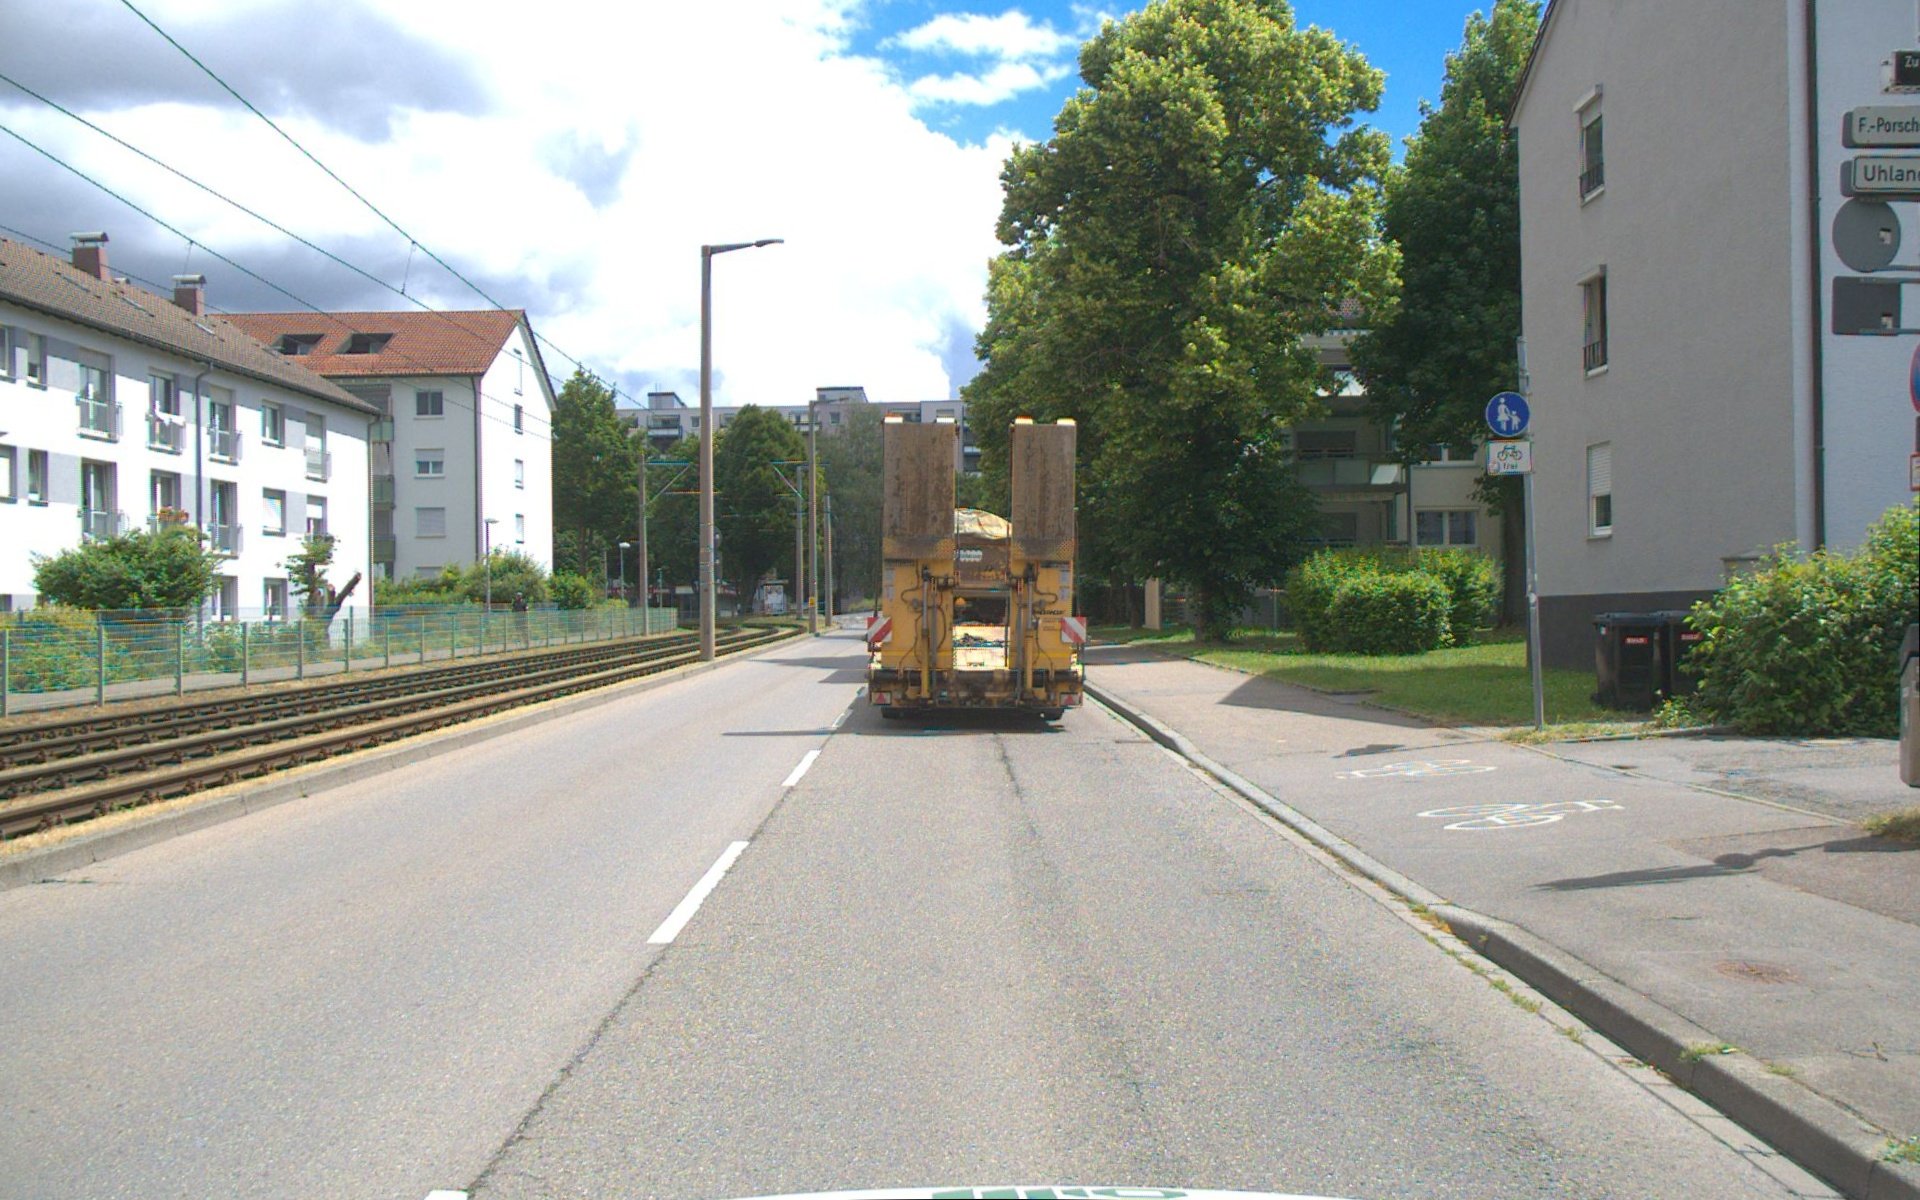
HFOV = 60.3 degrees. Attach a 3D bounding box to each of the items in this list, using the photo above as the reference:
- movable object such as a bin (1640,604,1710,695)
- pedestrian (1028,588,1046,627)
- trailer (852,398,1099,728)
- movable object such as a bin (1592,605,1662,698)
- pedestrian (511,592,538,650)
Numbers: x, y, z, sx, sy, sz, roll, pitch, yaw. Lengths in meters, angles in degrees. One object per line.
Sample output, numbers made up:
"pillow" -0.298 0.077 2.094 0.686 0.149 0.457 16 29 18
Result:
"movable object such as a bin" 7.778 0.533 18.017 0.490 0.964 0.551 -2 0 -1
"pedestrian" 3.518 0.327 75.738 0.703 1.736 0.766 -2 0 -1
"trailer" -0.029 -0.424 24.929 2.770 3.709 12.349 1 0 -2
"movable object such as a bin" 7.224 0.549 17.926 0.486 0.971 0.580 -2 0 -1
"pedestrian" -14.435 0.694 54.820 0.646 1.881 0.768 -2 0 -1
